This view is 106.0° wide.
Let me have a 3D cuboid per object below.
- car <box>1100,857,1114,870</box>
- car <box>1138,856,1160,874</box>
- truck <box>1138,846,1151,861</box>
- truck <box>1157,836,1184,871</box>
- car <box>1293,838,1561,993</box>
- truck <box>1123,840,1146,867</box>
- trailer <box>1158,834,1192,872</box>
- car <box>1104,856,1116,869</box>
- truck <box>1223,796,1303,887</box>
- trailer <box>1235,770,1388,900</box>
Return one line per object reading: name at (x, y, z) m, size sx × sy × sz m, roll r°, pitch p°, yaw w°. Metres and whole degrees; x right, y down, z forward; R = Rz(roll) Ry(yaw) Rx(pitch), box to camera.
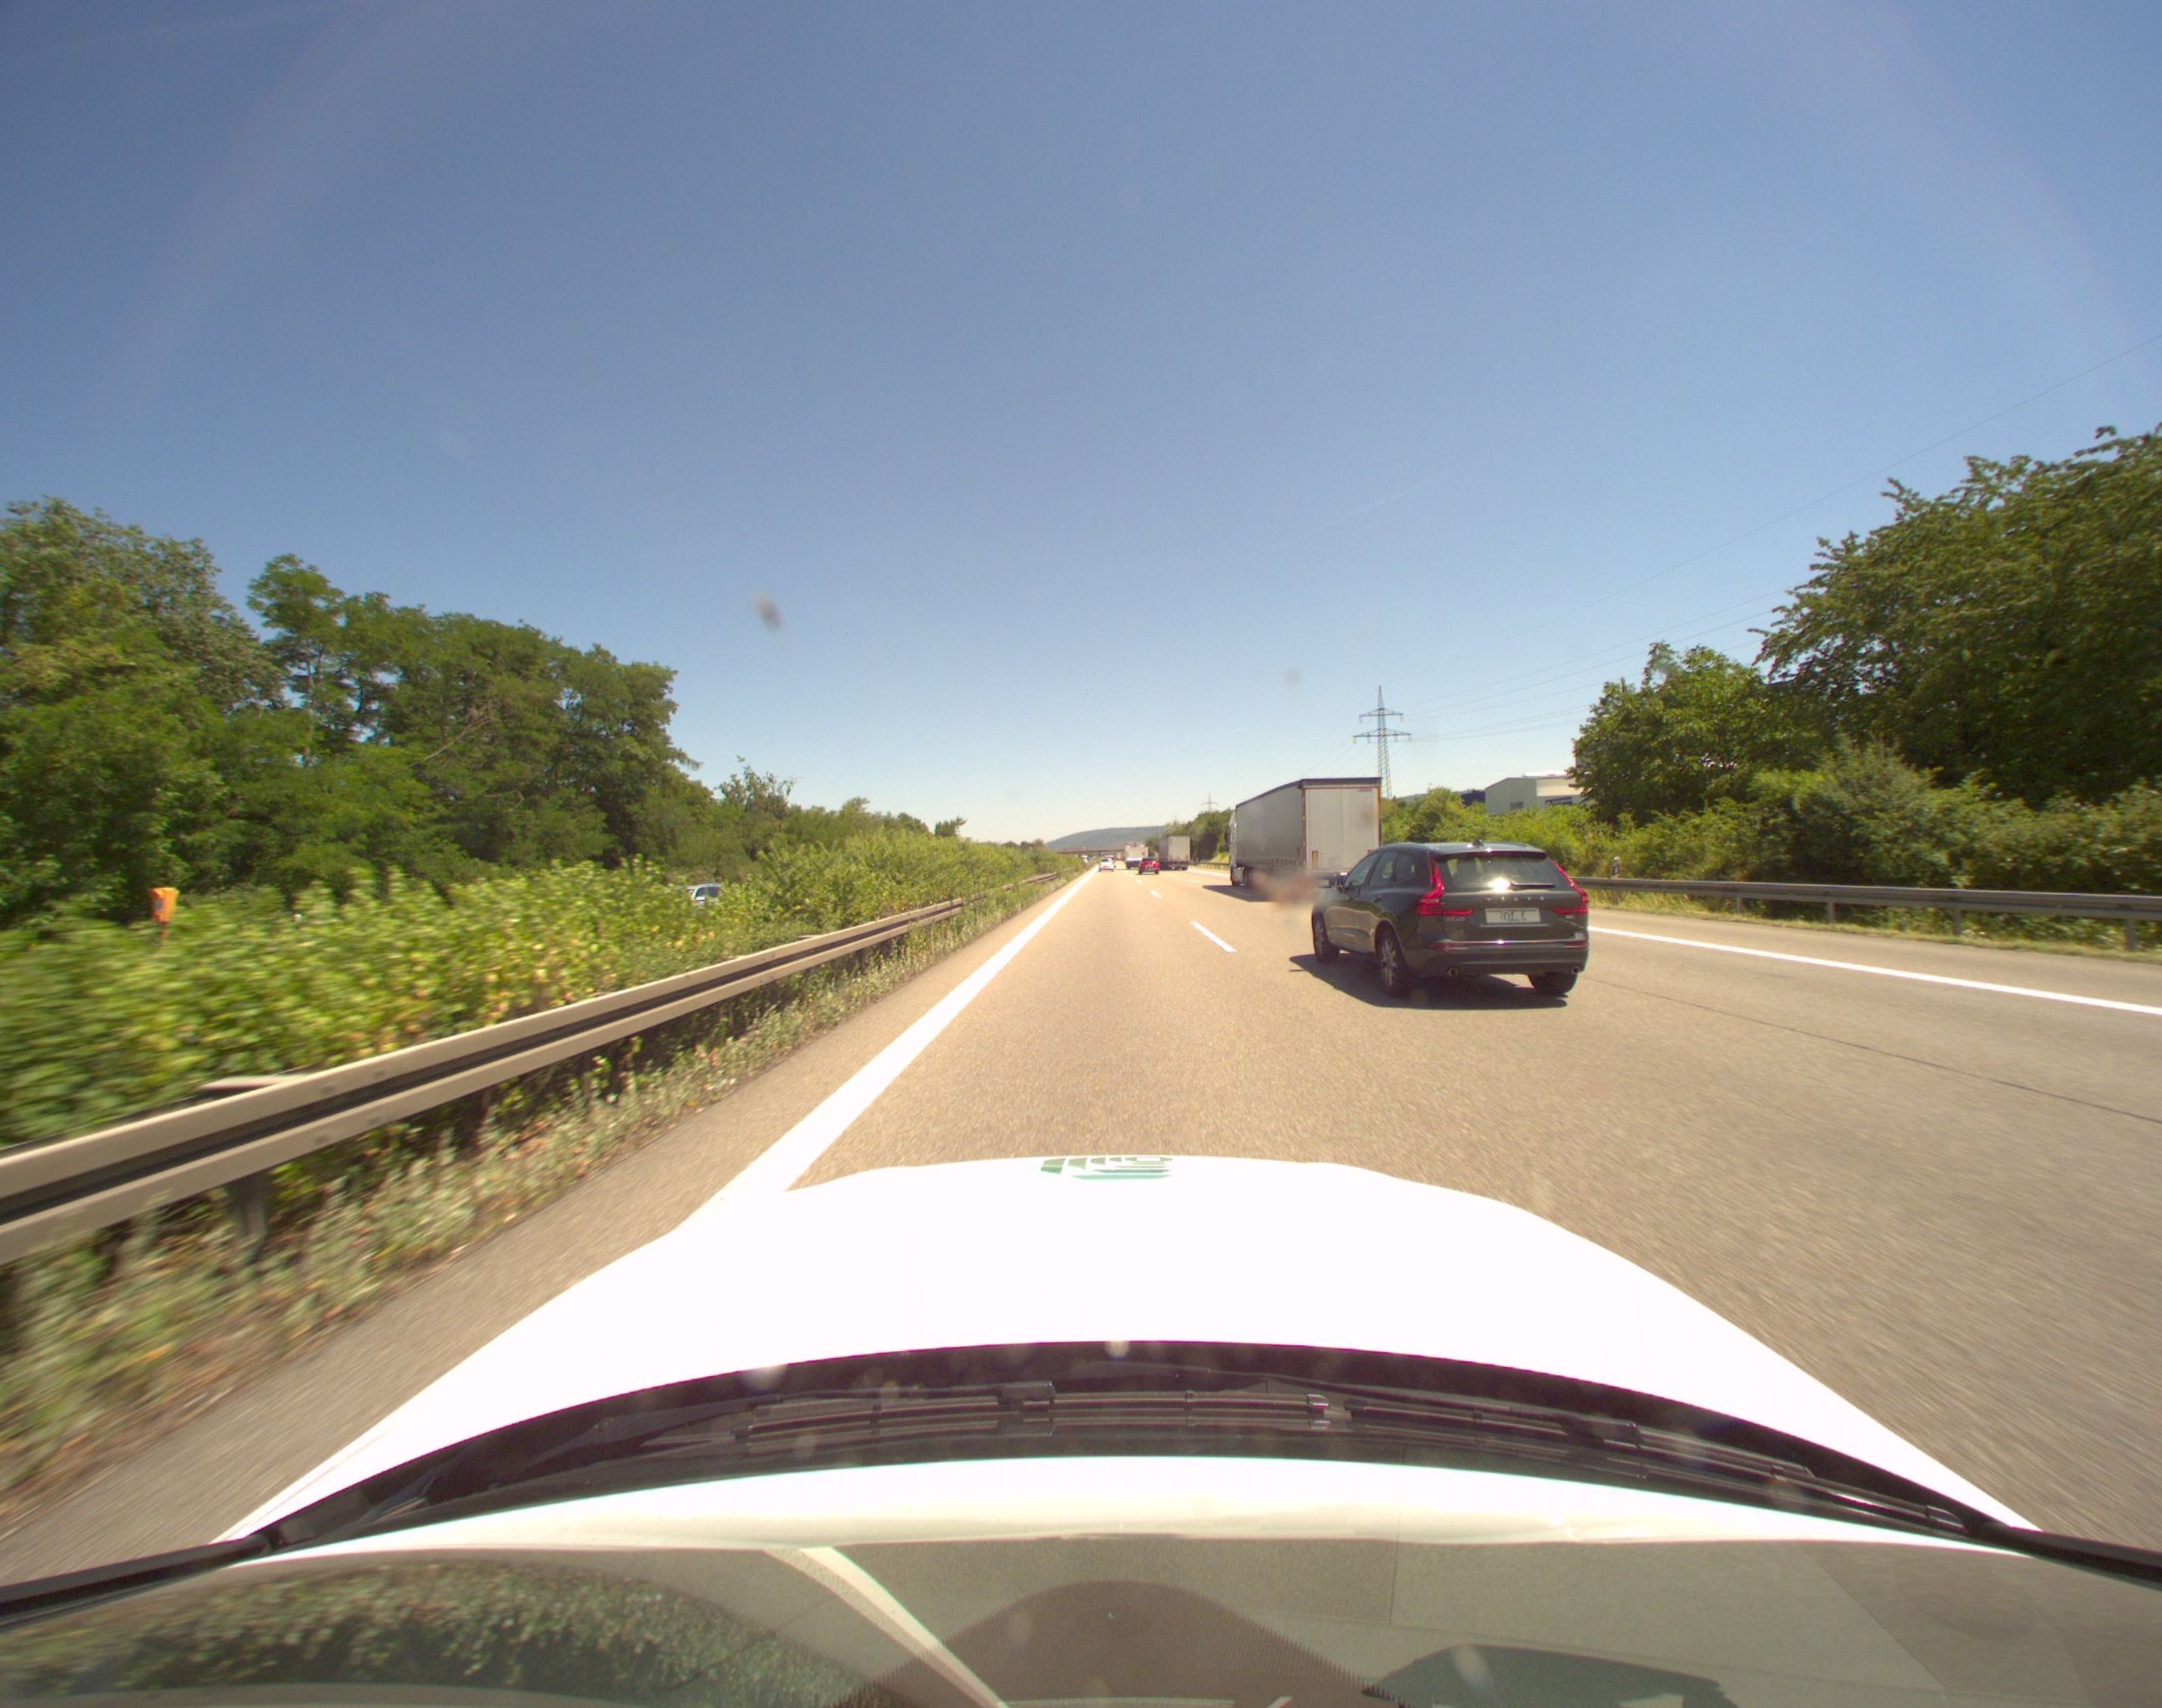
car at (3.001, 1.066, 93.464) m, size 1.601 × 1.468 × 4.001 m, roll -1°, pitch 0°, yaw 2°
car at (6.175, 0.974, 74.612) m, size 1.796 × 1.545 × 4.002 m, roll -1°, pitch 0°, yaw 2°
truck at (14.212, -0.184, 183.395) m, size 2.213 × 3.209 × 10.388 m, roll -2°, pitch 0°, yaw 2°
truck at (11.286, -0.021, 103.237) m, size 2.784 × 4.164 × 5.725 m, roll -2°, pitch -1°, yaw 2°
car at (4.211, 0.664, 10.690) m, size 1.867 × 1.623 × 4.005 m, roll -1°, pitch 0°, yaw 1°
truck at (7.089, -0.062, 108.213) m, size 2.772 × 3.373 × 8.130 m, roll -1°, pitch -1°, yaw 2°
trailer at (11.025, -0.062, 96.734) m, size 2.778 × 4.164 × 13.581 m, roll -2°, pitch -1°, yaw 2°
car at (4.389, 1.273, 124.554) m, size 1.754 × 1.850 × 4.001 m, roll -1°, pitch 0°, yaw 2°
truck at (8.865, -0.539, 40.340) m, size 2.726 × 4.120 × 6.127 m, roll -1°, pitch 0°, yaw 2°
trailer at (8.618, -0.564, 32.625) m, size 2.726 × 4.106 × 13.127 m, roll -1°, pitch 0°, yaw 2°
